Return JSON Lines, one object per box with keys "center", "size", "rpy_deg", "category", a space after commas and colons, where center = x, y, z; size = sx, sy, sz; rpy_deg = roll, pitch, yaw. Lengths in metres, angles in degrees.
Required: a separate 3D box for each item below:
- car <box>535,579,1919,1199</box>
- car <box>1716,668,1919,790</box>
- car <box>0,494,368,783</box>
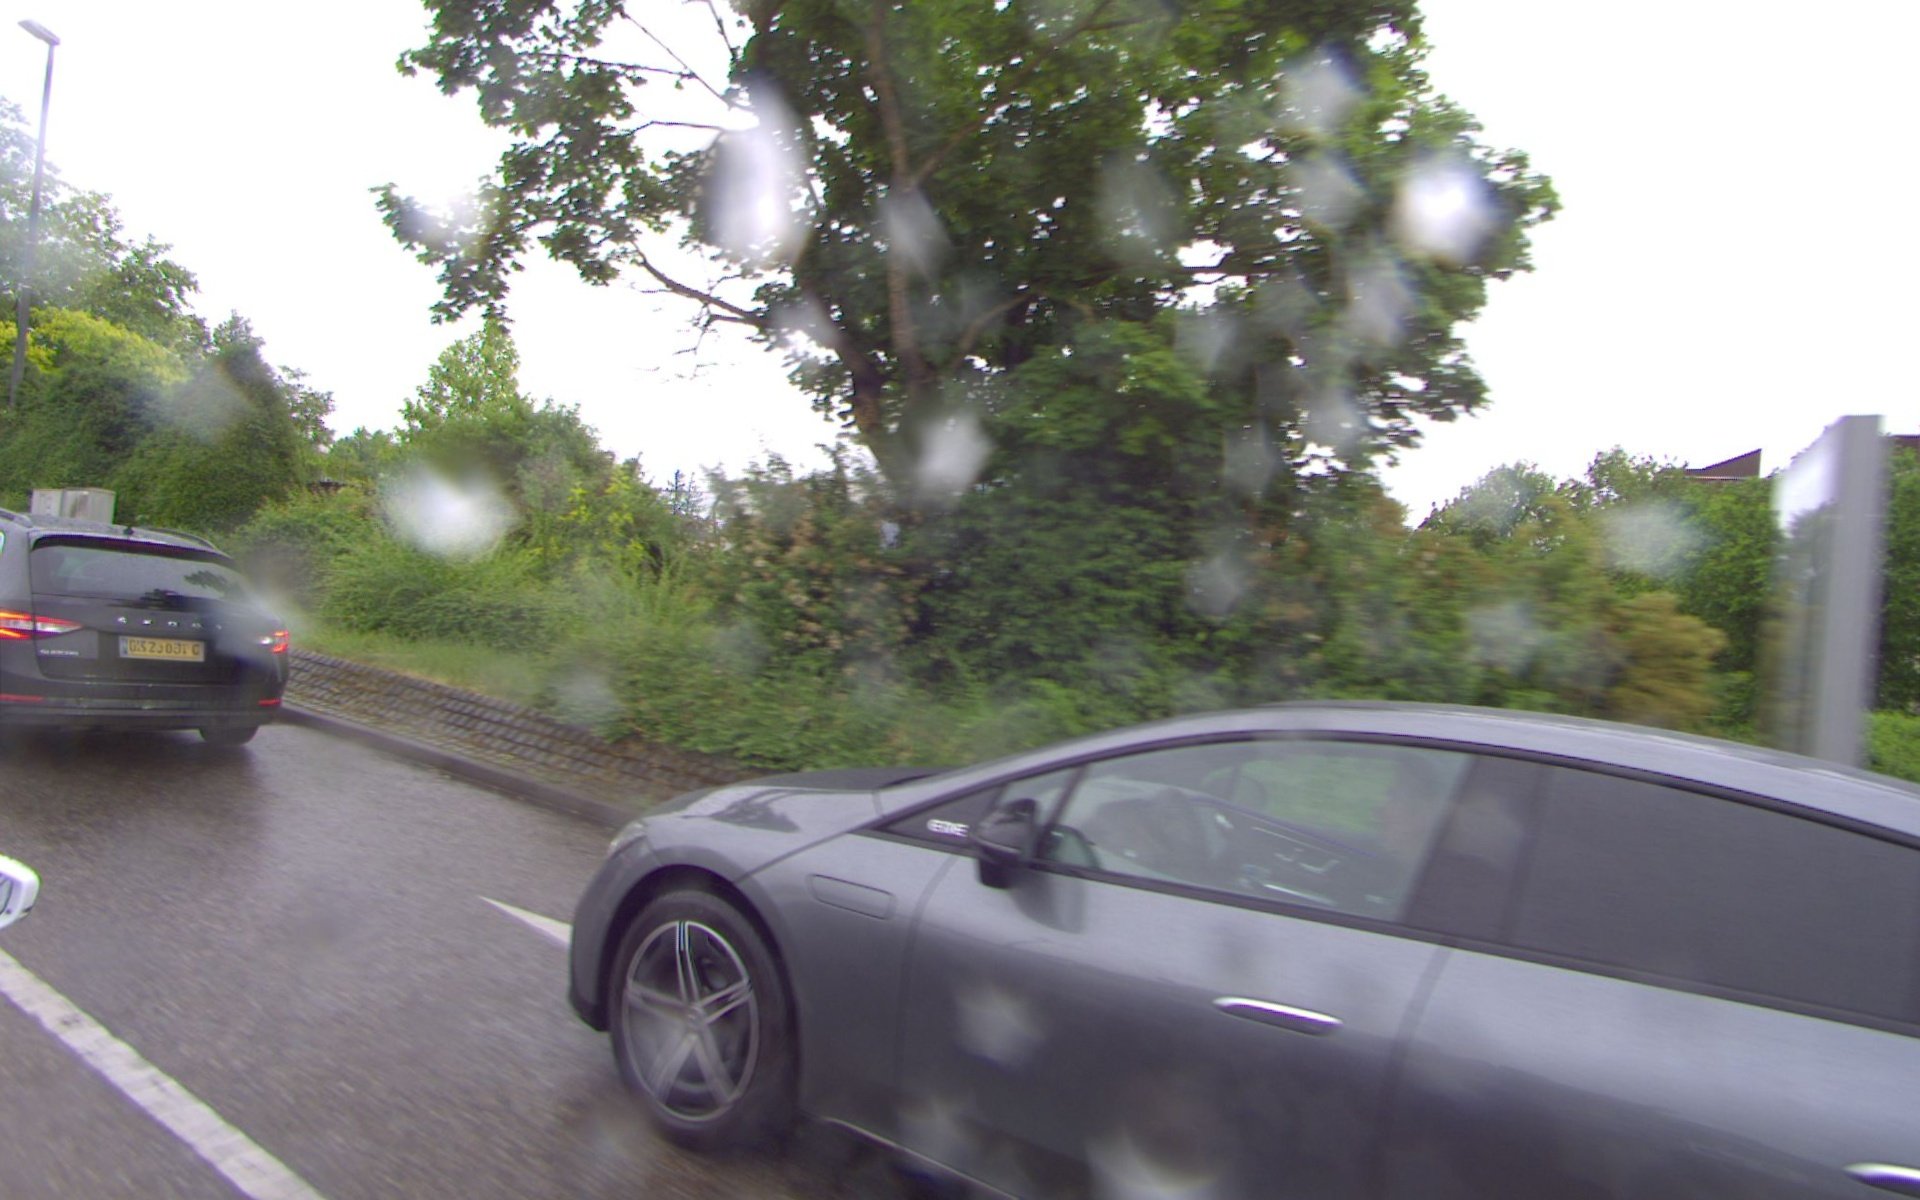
{"center": [1.148, 0.957, 2.708], "size": [4.475, 1.460, 1.835], "rpy_deg": [6, -2, 31], "category": "car"}
{"center": [22.705, 3.243, 24.068], "size": [6.637, 2.302, 2.797], "rpy_deg": [6, 1, 11], "category": "car"}
{"center": [-6.531, 0.124, 7.251], "size": [4.534, 1.524, 1.958], "rpy_deg": [6, -3, 33], "category": "car"}
